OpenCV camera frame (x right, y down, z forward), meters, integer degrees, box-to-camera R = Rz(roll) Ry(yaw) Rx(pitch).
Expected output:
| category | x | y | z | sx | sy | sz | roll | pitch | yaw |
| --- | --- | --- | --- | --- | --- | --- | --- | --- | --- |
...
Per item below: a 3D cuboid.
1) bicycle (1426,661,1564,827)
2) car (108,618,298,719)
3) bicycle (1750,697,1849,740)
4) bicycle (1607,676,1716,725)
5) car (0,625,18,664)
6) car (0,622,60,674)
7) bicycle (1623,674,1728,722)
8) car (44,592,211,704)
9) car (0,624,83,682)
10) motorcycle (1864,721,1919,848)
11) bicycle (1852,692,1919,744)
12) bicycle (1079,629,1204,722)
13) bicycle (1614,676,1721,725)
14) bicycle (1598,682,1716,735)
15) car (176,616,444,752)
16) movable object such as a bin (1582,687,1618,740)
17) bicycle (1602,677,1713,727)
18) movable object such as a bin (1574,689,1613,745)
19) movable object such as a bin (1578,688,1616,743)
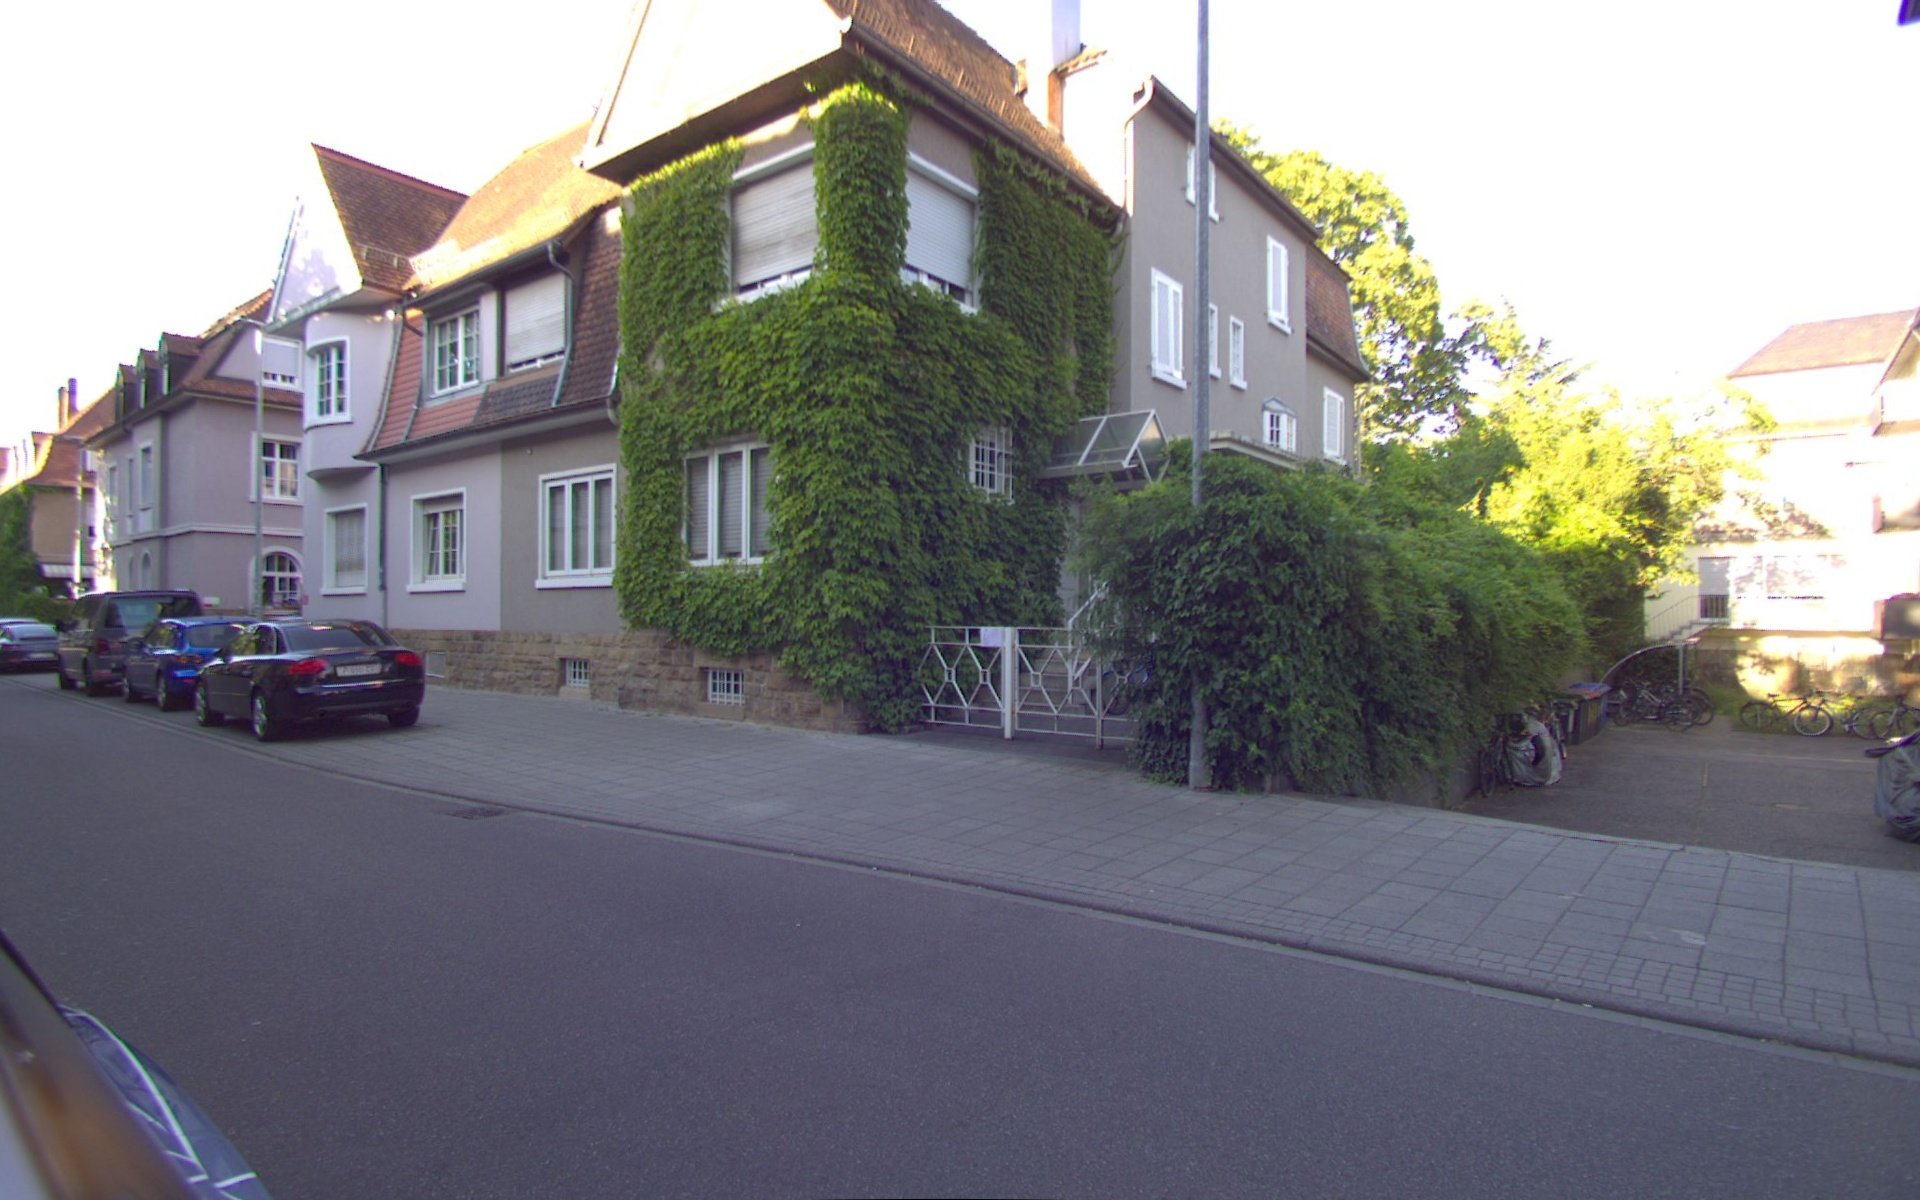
| category | x | y | z | sx | sy | sz | roll | pitch | yaw |
| --- | --- | --- | --- | --- | --- | --- | --- | --- | --- |
| bicycle | 7.547 | 1.842 | 14.109 | 0.970 | 1.907 | 4.138 | -2 | -3 | 38 |
| car | -12.917 | 1.068 | 17.184 | 4.060 | 1.457 | 1.745 | -1 | 0 | 41 |
| bicycle | 19.607 | 2.755 | 23.665 | 1.754 | 0.886 | 0.558 | -1 | -4 | 41 |
| bicycle | 18.767 | 2.667 | 27.129 | 2.338 | 1.186 | 0.685 | -1 | -4 | 41 |
| car | -35.623 | 1.624 | 36.821 | 3.676 | 1.372 | 1.641 | -1 | 0 | 42 |
| car | -29.467 | 1.453 | 31.351 | 4.061 | 1.478 | 1.907 | -1 | 0 | 42 |
| bicycle | 19.909 | 2.709 | 28.195 | 2.338 | 1.186 | 0.685 | -1 | -4 | 41 |
| car | -16.809 | 0.890 | 20.351 | 4.610 | 1.990 | 1.819 | -1 | 0 | 41 |
| car | -25.449 | 1.405 | 27.622 | 4.063 | 1.394 | 1.906 | -1 | 0 | 44 |
| motorcycle | 11.433 | 2.162 | 11.984 | 0.742 | 1.305 | 1.565 | -1 | -2 | 30 |
| bicycle | 21.085 | 2.623 | 22.393 | 2.005 | 1.080 | 0.558 | -1 | -4 | 41 |
| bicycle | 2.455 | 0.963 | 13.509 | 0.476 | 1.111 | 2.172 | -2 | -1 | 45 |
| bicycle | 19.324 | 2.727 | 27.696 | 2.338 | 1.186 | 0.685 | -1 | -4 | 41 |
| bicycle | 16.953 | 2.618 | 24.665 | 2.294 | 1.142 | 0.685 | -1 | -4 | 41 |
| car | -8.680 | 0.978 | 13.358 | 4.426 | 1.457 | 1.783 | -1 | 0 | 41 |
| movable object such as a bin | 14.363 | 2.537 | 22.708 | 0.611 | 1.123 | 0.792 | -2 | -4 | 37 |
| bicycle | 18.216 | 2.645 | 26.475 | 2.338 | 1.142 | 0.685 | -1 | -4 | 41 |
| movable object such as a bin | 13.418 | 2.464 | 21.434 | 0.611 | 1.123 | 0.792 | -2 | -4 | 37 |
| movable object such as a bin | 13.893 | 2.502 | 22.076 | 0.611 | 1.123 | 0.792 | -2 | -4 | 37 |
